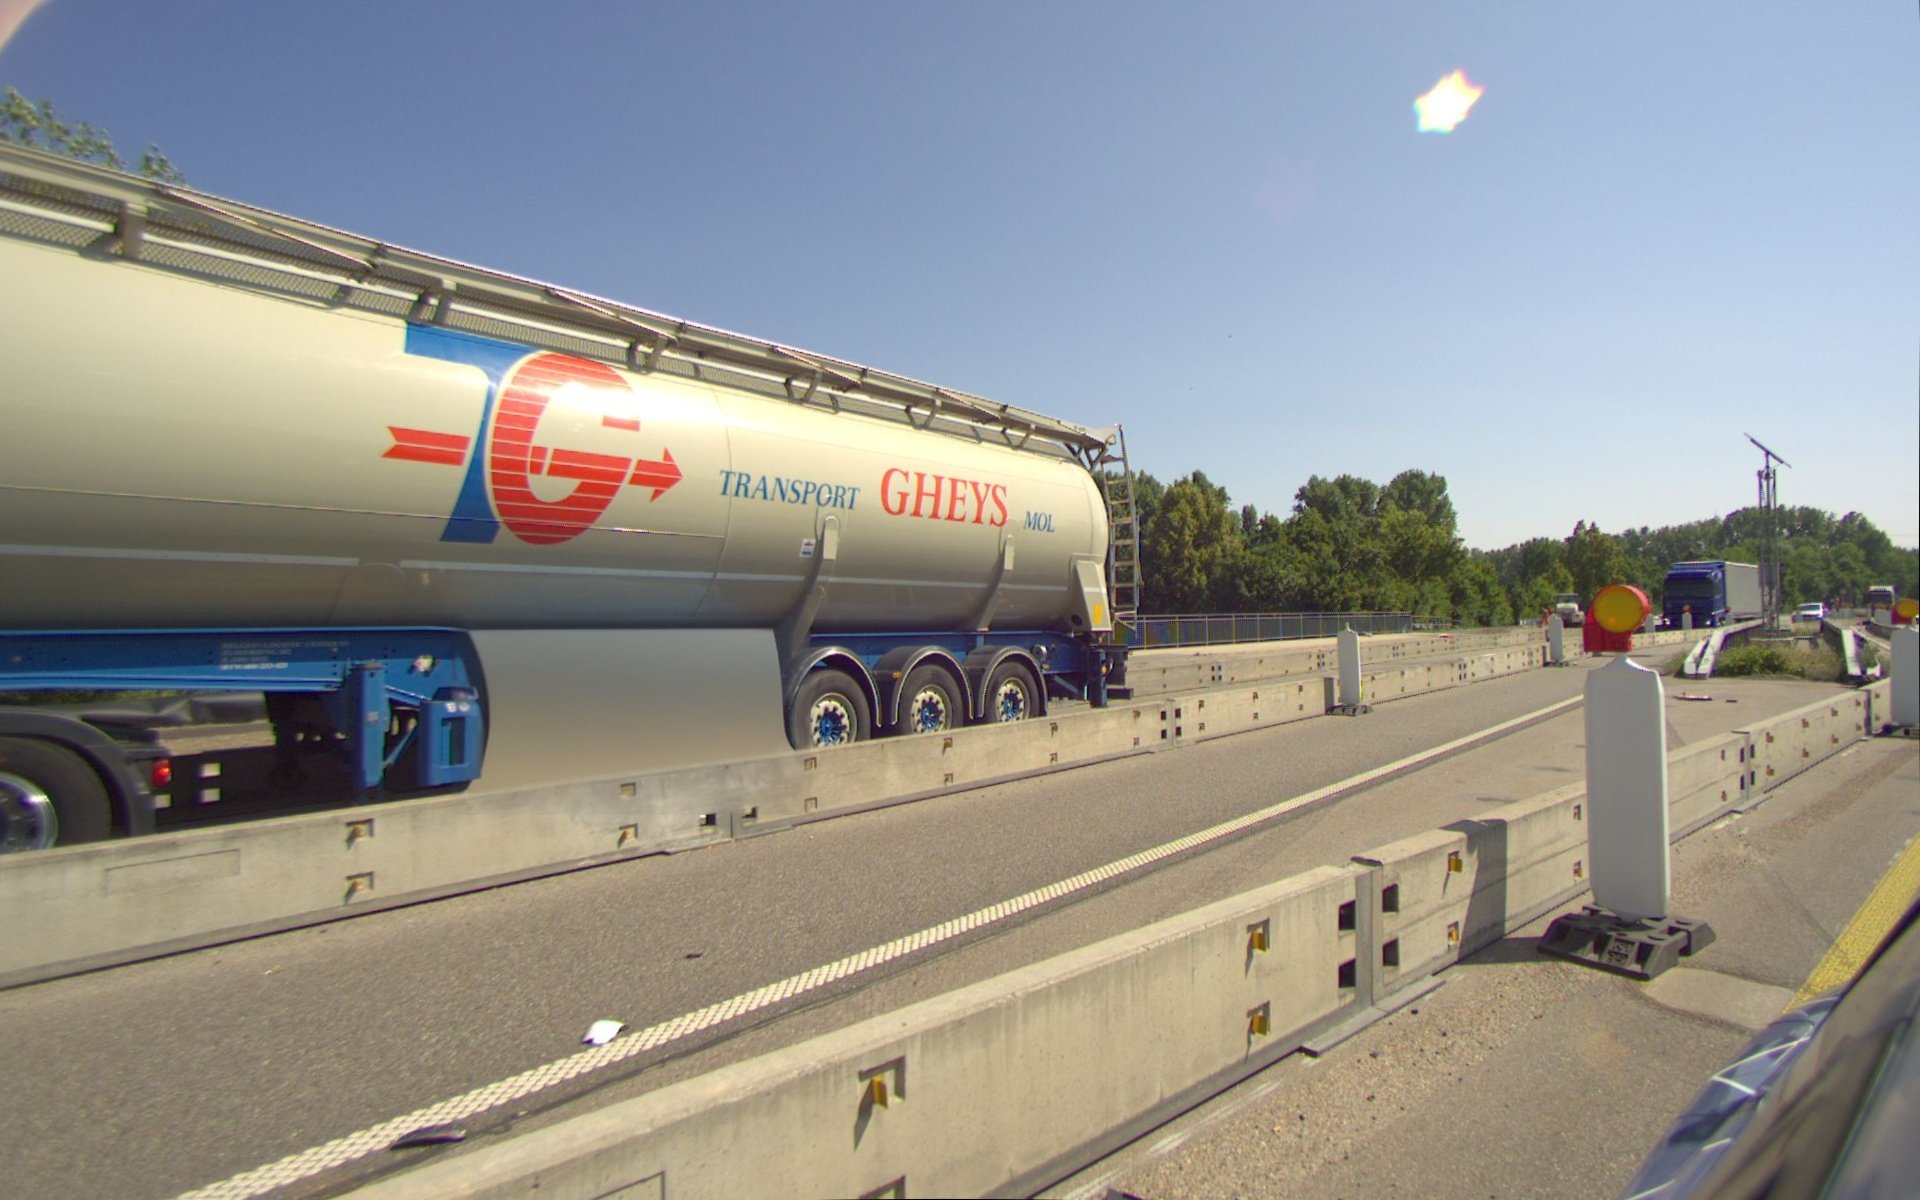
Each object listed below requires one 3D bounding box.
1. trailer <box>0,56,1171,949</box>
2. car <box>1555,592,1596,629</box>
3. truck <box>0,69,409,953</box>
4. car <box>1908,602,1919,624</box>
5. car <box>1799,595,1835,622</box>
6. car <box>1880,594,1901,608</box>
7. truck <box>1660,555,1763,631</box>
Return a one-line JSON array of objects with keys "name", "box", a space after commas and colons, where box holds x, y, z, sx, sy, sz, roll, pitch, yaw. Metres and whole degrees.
[{"name": "trailer", "box": [-2.404, -0.459, 9.170, 2.692, 4.190, 12.424, -1, -1, 41]}, {"name": "car", "box": [46.266, 0.733, 75.992, 2.098, 2.676, 5.906, -1, 0, 36]}, {"name": "truck", "box": [-6.694, -0.419, 4.300, 2.692, 4.155, 7.191, -1, -1, 41]}, {"name": "car", "box": [74.623, 0.965, 78.324, 1.742, 1.651, 4.028, -1, 0, 43]}, {"name": "car", "box": [66.107, 0.658, 78.026, 1.992, 2.039, 3.939, -1, -1, 42]}, {"name": "car", "box": [115.781, 0.101, 125.922, 1.743, 1.651, 4.026, -1, 0, 45]}, {"name": "truck", "box": [42.860, -0.376, 57.601, 8.513, 4.036, 2.858, 0, -1, -41]}]
